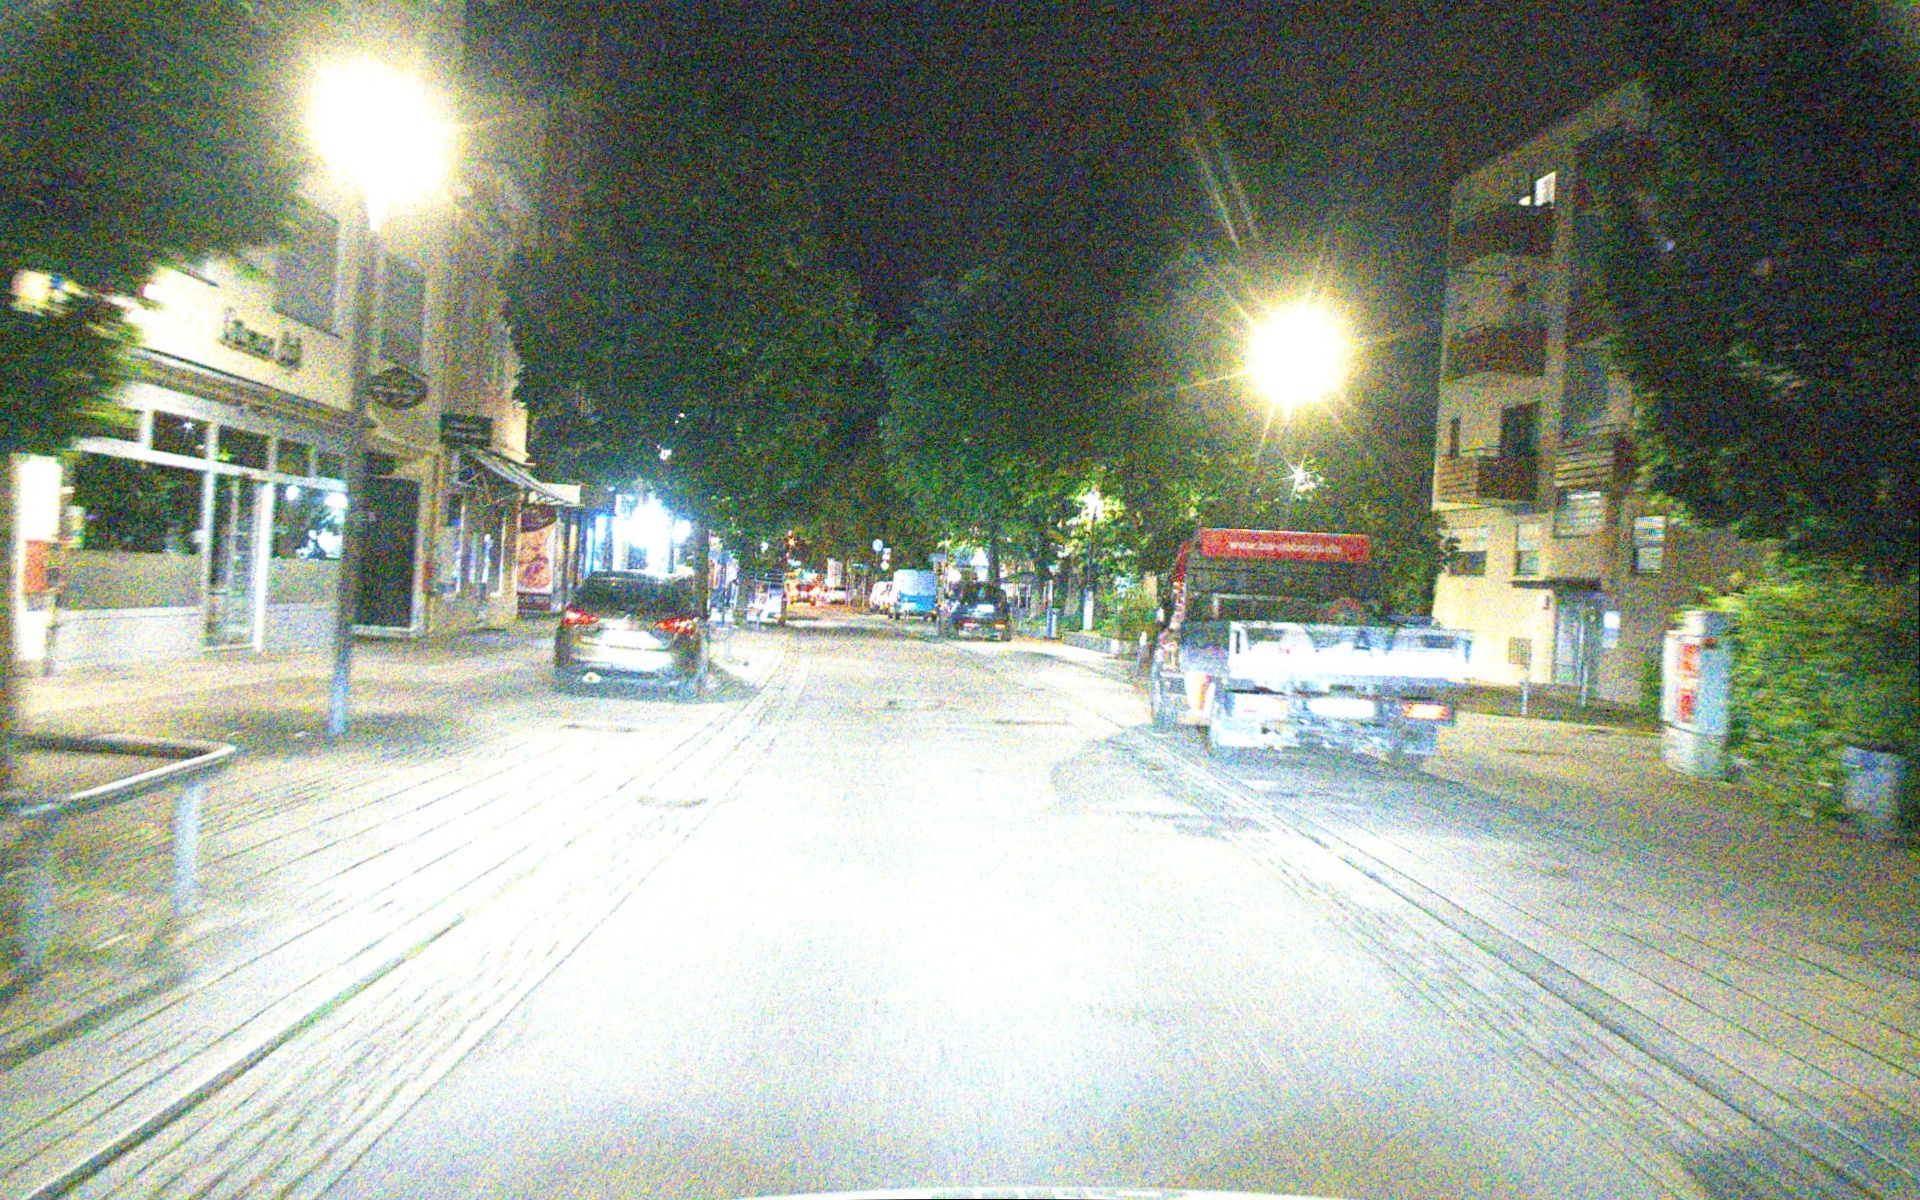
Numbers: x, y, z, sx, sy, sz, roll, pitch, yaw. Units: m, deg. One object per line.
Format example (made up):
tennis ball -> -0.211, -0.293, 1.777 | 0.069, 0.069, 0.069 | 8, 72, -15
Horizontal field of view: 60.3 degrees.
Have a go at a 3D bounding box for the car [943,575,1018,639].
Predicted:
car -> 0.590, 0.195, 52.518 | 1.780, 1.860, 4.341 | 3, 0, -7

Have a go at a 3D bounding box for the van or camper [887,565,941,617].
van or camper -> -2.203, -0.434, 78.442 | 2.068, 2.357, 4.255 | 2, 0, -7

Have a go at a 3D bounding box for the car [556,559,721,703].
car -> -4.044, 0.346, 21.372 | 1.642, 1.570, 4.225 | 4, 0, -6

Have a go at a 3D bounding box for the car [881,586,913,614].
car -> -3.481, -0.007, 91.117 | 1.502, 1.443, 3.841 | 3, 0, -6

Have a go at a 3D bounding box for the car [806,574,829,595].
car -> -13.507, -1.470, 156.307 | 1.956, 1.855, 3.994 | 3, 0, -7

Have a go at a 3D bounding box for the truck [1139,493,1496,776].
truck -> 3.421, 0.284, 17.245 | 2.289, 2.352, 5.779 | 3, 0, -1

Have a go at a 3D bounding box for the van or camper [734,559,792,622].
van or camper -> -7.031, -0.349, 59.040 | 1.831, 2.045, 4.255 | 5, 0, -7

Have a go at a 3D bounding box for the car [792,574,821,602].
car -> -11.138, -0.877, 119.768 | 1.956, 1.855, 3.994 | 3, 0, -7

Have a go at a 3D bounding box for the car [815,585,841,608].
car -> -9.924, -0.257, 124.221 | 1.804, 1.569, 3.841 | 3, 0, -6

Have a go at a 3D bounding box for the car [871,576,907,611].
car -> -4.204, -0.386, 97.220 | 1.804, 1.934, 3.841 | 3, 0, -6
